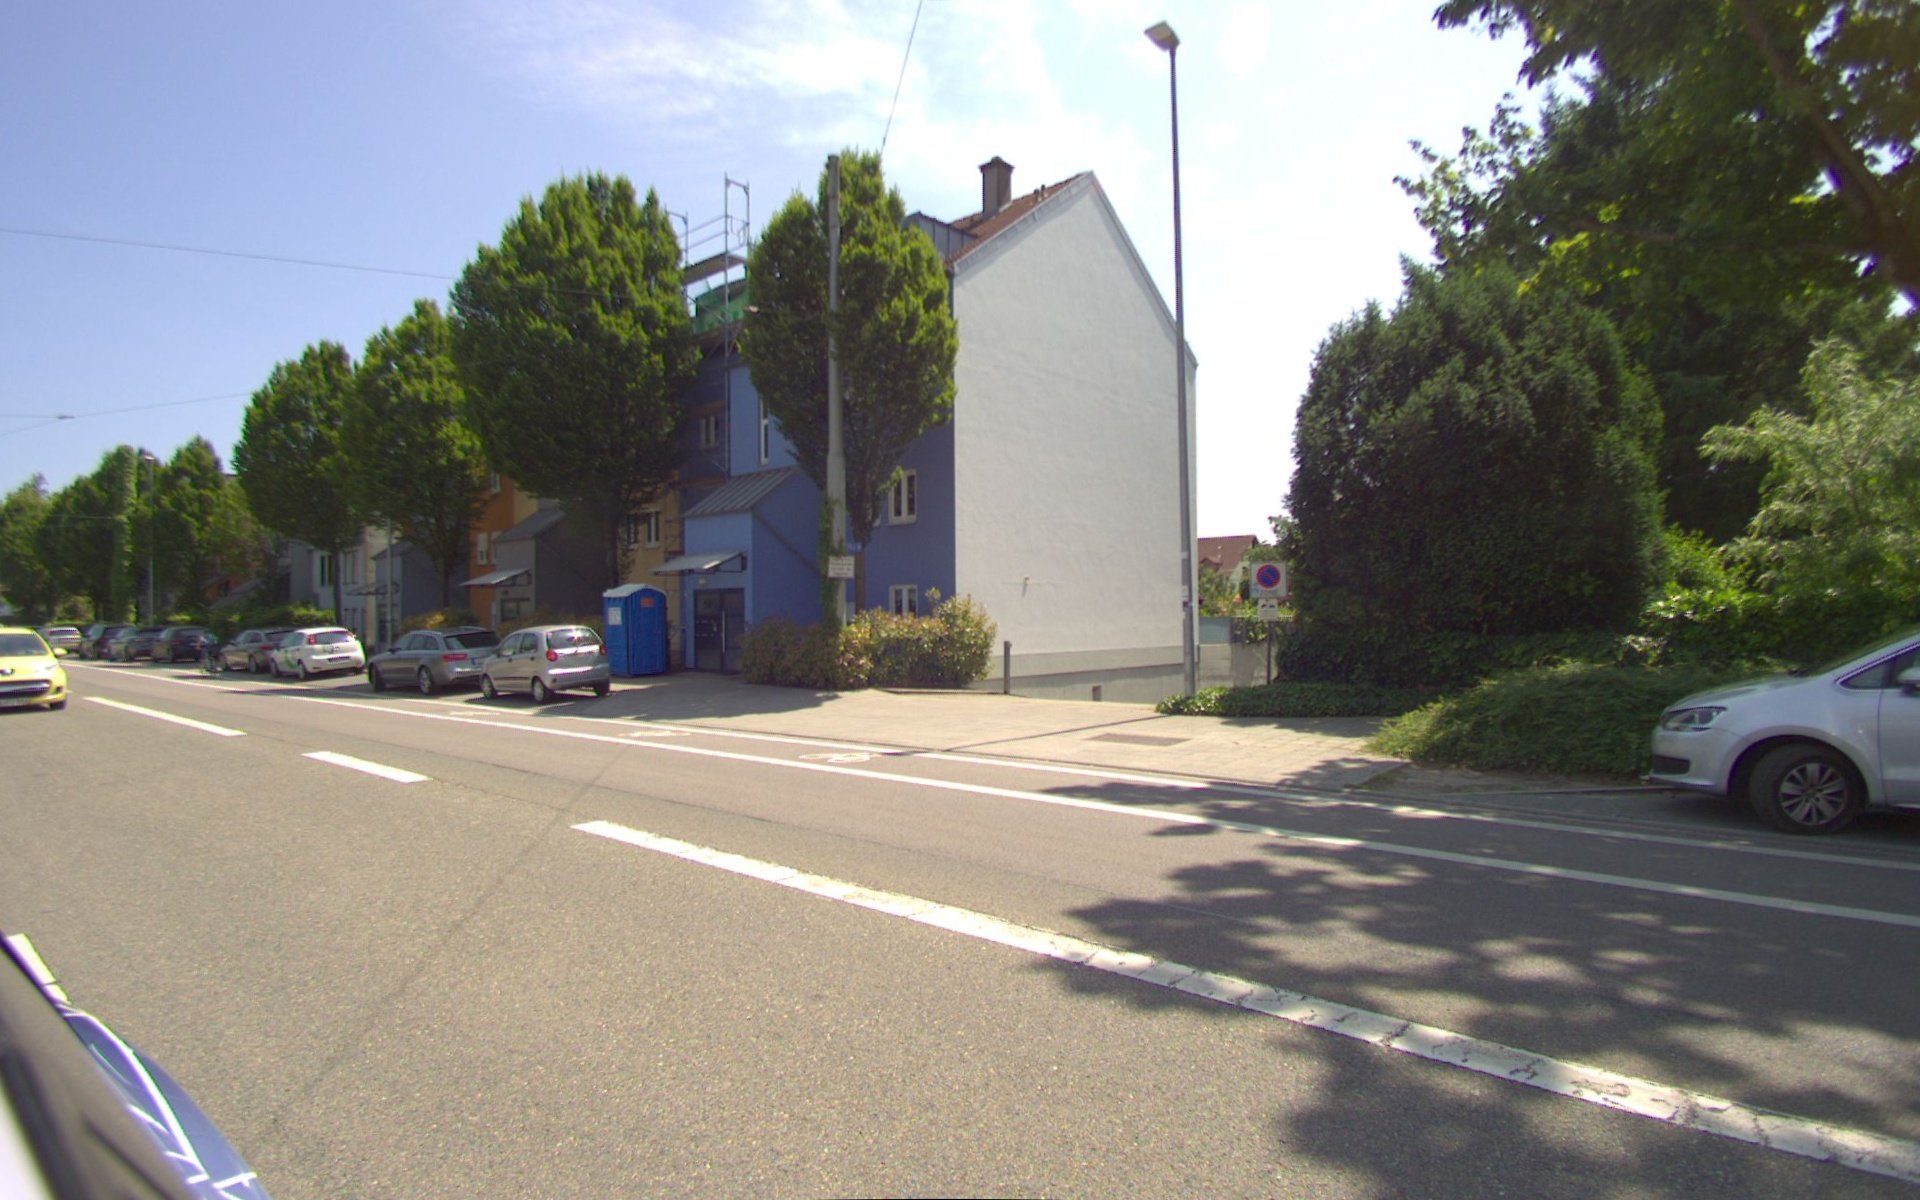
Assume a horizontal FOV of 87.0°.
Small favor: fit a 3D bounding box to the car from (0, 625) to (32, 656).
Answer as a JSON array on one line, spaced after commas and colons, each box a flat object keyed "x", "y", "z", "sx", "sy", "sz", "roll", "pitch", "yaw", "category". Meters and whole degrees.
[{"x": -59.269, "y": 2.480, "z": 62.500, "sx": 4.548, "sy": 1.807, "sz": 1.976, "roll": -1, "pitch": -1, "yaw": 35, "category": "car"}]

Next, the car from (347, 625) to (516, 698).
[{"x": -12.925, "y": 1.468, "z": 24.610, "sx": 5.129, "sy": 1.461, "sz": 1.769, "roll": -3, "pitch": 2, "yaw": 40, "category": "car"}]

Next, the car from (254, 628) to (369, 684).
[{"x": -20.137, "y": 1.692, "z": 31.341, "sx": 4.417, "sy": 1.453, "sz": 1.729, "roll": -2, "pitch": 3, "yaw": 41, "category": "car"}]

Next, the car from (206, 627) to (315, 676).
[{"x": -24.204, "y": 1.760, "z": 34.961, "sx": 4.744, "sy": 1.440, "sz": 1.688, "roll": -2, "pitch": 3, "yaw": 38, "category": "car"}]

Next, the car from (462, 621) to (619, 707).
[{"x": -8.813, "y": 1.286, "z": 21.166, "sx": 3.447, "sy": 1.506, "sz": 1.577, "roll": -2, "pitch": 3, "yaw": 41, "category": "car"}]

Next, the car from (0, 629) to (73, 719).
[{"x": -16.930, "y": 1.262, "z": 17.667, "sx": 3.513, "sy": 1.421, "sz": 1.673, "roll": -2, "pitch": 0, "yaw": 41, "category": "car"}]

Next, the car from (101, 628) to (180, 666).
[{"x": -36.792, "y": 2.078, "z": 45.379, "sx": 4.752, "sy": 1.507, "sz": 1.807, "roll": -2, "pitch": 0, "yaw": 39, "category": "car"}]

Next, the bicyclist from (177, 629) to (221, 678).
[{"x": -23.068, "y": 1.608, "z": 30.668, "sx": 1.123, "sy": 1.442, "sz": 0.728, "roll": -1, "pitch": -5, "yaw": 38, "category": "bicyclist"}]

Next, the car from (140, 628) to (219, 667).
[{"x": -32.573, "y": 1.961, "z": 42.186, "sx": 4.254, "sy": 1.443, "sz": 1.732, "roll": -2, "pitch": 1, "yaw": 40, "category": "car"}]

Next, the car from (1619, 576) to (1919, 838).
[{"x": 7.339, "y": 0.660, "z": 6.682, "sx": 4.778, "sy": 1.677, "sz": 1.853, "roll": -2, "pitch": -1, "yaw": 41, "category": "car"}]

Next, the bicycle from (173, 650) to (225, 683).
[{"x": -23.068, "y": 2.003, "z": 30.652, "sx": 2.240, "sy": 0.958, "sz": 0.695, "roll": -3, "pitch": -4, "yaw": 39, "category": "bicycle"}]

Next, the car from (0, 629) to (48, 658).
[{"x": -55.110, "y": 2.544, "z": 59.352, "sx": 3.673, "sy": 1.606, "sz": 1.586, "roll": -2, "pitch": 0, "yaw": 35, "category": "car"}]

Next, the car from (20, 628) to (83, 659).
[{"x": -50.257, "y": 2.393, "z": 55.979, "sx": 4.490, "sy": 1.594, "sz": 1.823, "roll": -2, "pitch": 0, "yaw": 38, "category": "car"}]

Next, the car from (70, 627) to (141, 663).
[{"x": -41.369, "y": 2.175, "z": 48.973, "sx": 4.142, "sy": 1.601, "sz": 1.750, "roll": -2, "pitch": 0, "yaw": 38, "category": "car"}]
